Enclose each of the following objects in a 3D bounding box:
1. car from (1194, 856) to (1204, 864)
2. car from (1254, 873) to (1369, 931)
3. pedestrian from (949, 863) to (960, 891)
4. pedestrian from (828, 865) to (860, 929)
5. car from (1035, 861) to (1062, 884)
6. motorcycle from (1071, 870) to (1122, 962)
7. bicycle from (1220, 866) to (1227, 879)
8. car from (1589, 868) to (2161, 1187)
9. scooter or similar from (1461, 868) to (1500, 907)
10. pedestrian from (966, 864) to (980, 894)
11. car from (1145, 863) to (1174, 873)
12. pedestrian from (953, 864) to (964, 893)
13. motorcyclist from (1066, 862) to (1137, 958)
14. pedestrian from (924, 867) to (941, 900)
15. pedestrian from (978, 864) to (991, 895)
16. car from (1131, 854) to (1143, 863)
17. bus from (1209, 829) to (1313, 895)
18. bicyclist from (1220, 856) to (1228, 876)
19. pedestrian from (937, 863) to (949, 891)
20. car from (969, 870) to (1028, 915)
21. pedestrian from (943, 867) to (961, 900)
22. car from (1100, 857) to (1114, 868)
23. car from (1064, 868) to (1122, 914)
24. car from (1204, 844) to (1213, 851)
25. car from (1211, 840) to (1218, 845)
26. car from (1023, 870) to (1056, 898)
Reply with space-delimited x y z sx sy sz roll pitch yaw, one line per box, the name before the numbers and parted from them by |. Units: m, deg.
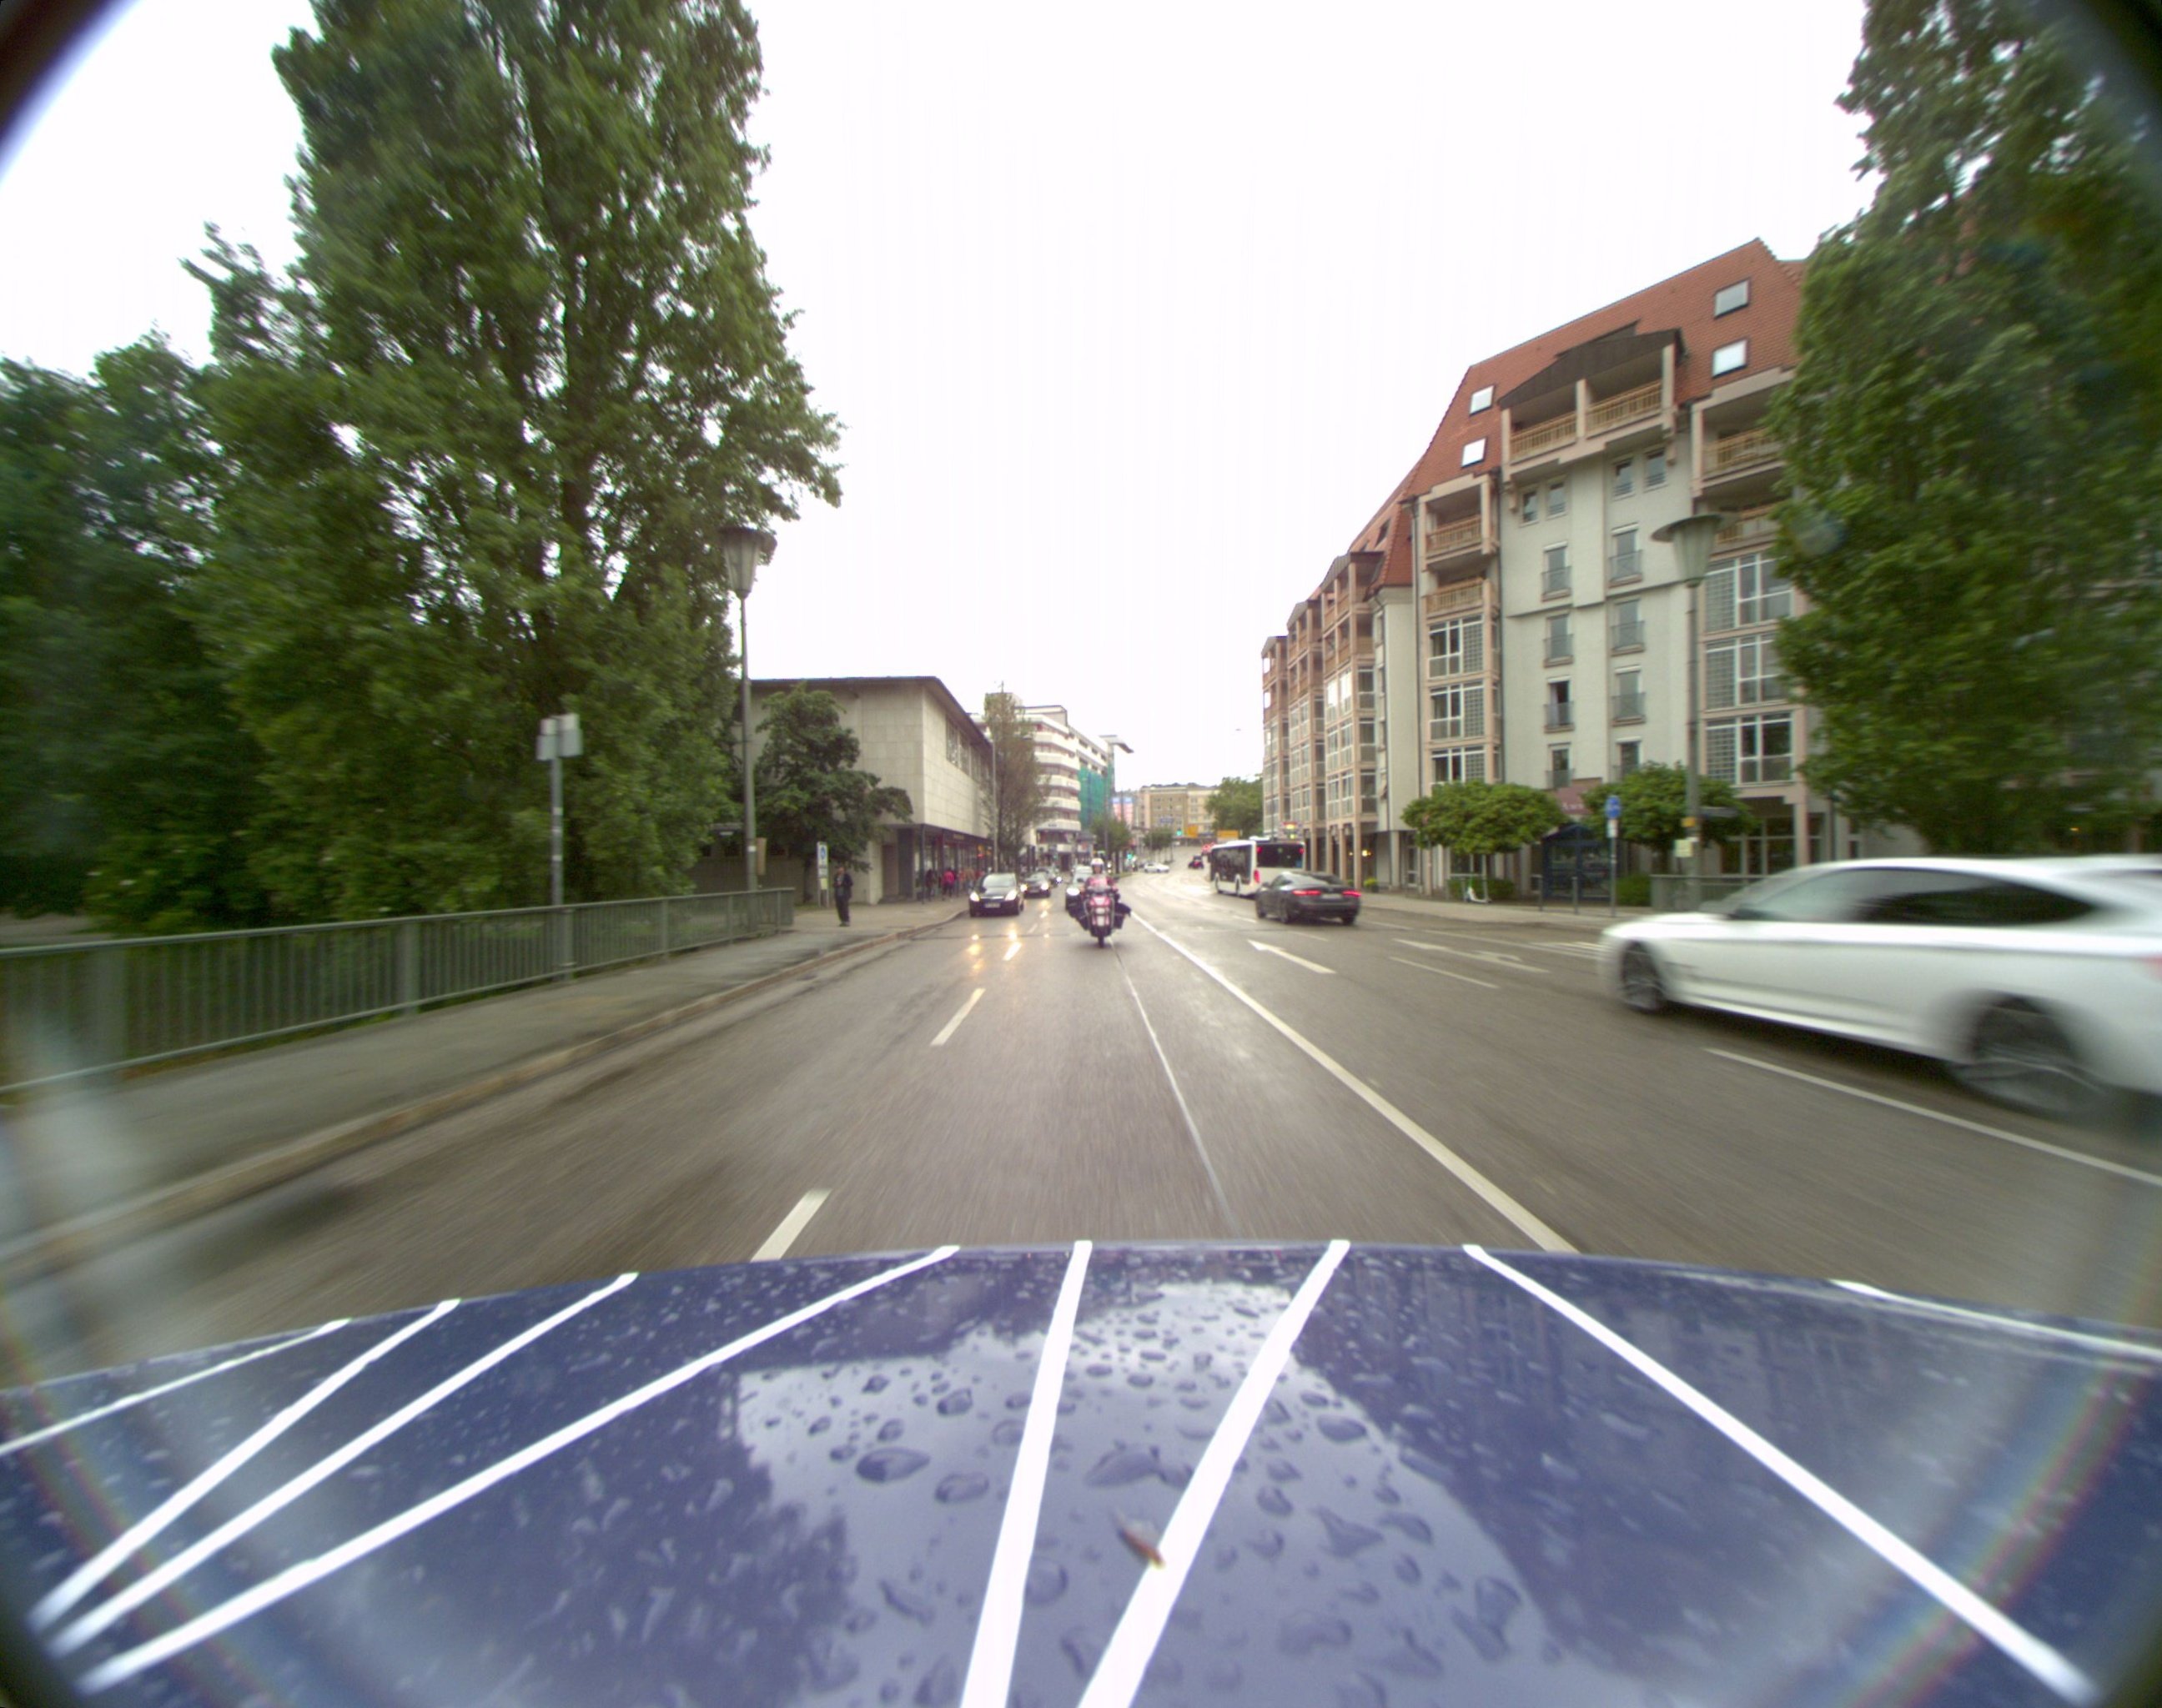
car | 24.177 1.233 155.668 1.761 1.412 4.098 1 1 5
car | 6.161 1.227 20.866 1.796 1.317 4.406 -1 0 0
pedestrian | -7.787 1.442 46.796 0.537 1.708 0.535 -1 0 9
pedestrian | -6.230 1.123 19.985 0.641 1.654 0.563 0 -1 -1
car | -2.673 1.487 62.751 1.735 1.669 4.250 -3 0 3
motorcycle | 0.324 1.071 14.260 0.832 1.479 2.866 -1 0 2
bicycle | 13.800 1.785 73.512 0.651 1.104 2.059 -1 0 10
car | 6.191 0.885 5.430 1.841 1.501 4.820 -1 0 -1
scooter or similar | 14.571 1.214 27.763 0.483 1.307 1.570 -1 3 -4
pedestrian | -6.296 1.455 44.395 0.700 1.791 0.606 0 0 0
car | 11.418 2.003 110.305 1.774 1.401 3.989 -4 2 -41
pedestrian | -7.664 1.506 47.598 0.537 1.809 0.535 -1 0 10
motorcyclist | 0.401 1.045 14.613 1.296 1.756 0.846 -1 0 2
pedestrian | -7.365 1.448 37.623 0.727 1.580 0.606 0 0 0
pedestrian | -5.637 1.481 44.468 0.655 1.757 0.923 0 0 0
car | 11.834 0.940 160.651 1.830 1.727 4.002 0 3 14
bus | 9.523 0.546 42.028 2.751 3.057 12.239 2 -2 0
bicyclist | 13.775 1.120 73.245 0.793 1.879 0.954 -1 0 10
pedestrian | -8.541 1.424 46.909 0.537 1.708 0.535 -1 0 10
car | -2.855 1.320 27.063 1.712 1.448 3.743 -2 -1 -1
pedestrian | -6.384 1.438 37.627 0.719 1.610 0.769 0 0 0
car | 4.727 1.504 138.582 1.830 1.727 4.002 0 3 14
car | 0.488 1.301 28.386 1.937 1.511 4.469 -2 -1 2
car | 30.074 -1.512 179.548 1.830 1.726 4.314 -1 1 12
car | 38.078 -3.302 216.837 1.716 1.470 3.960 1 2 12
car | -2.320 1.644 43.011 1.596 1.432 3.627 -2 0 0
